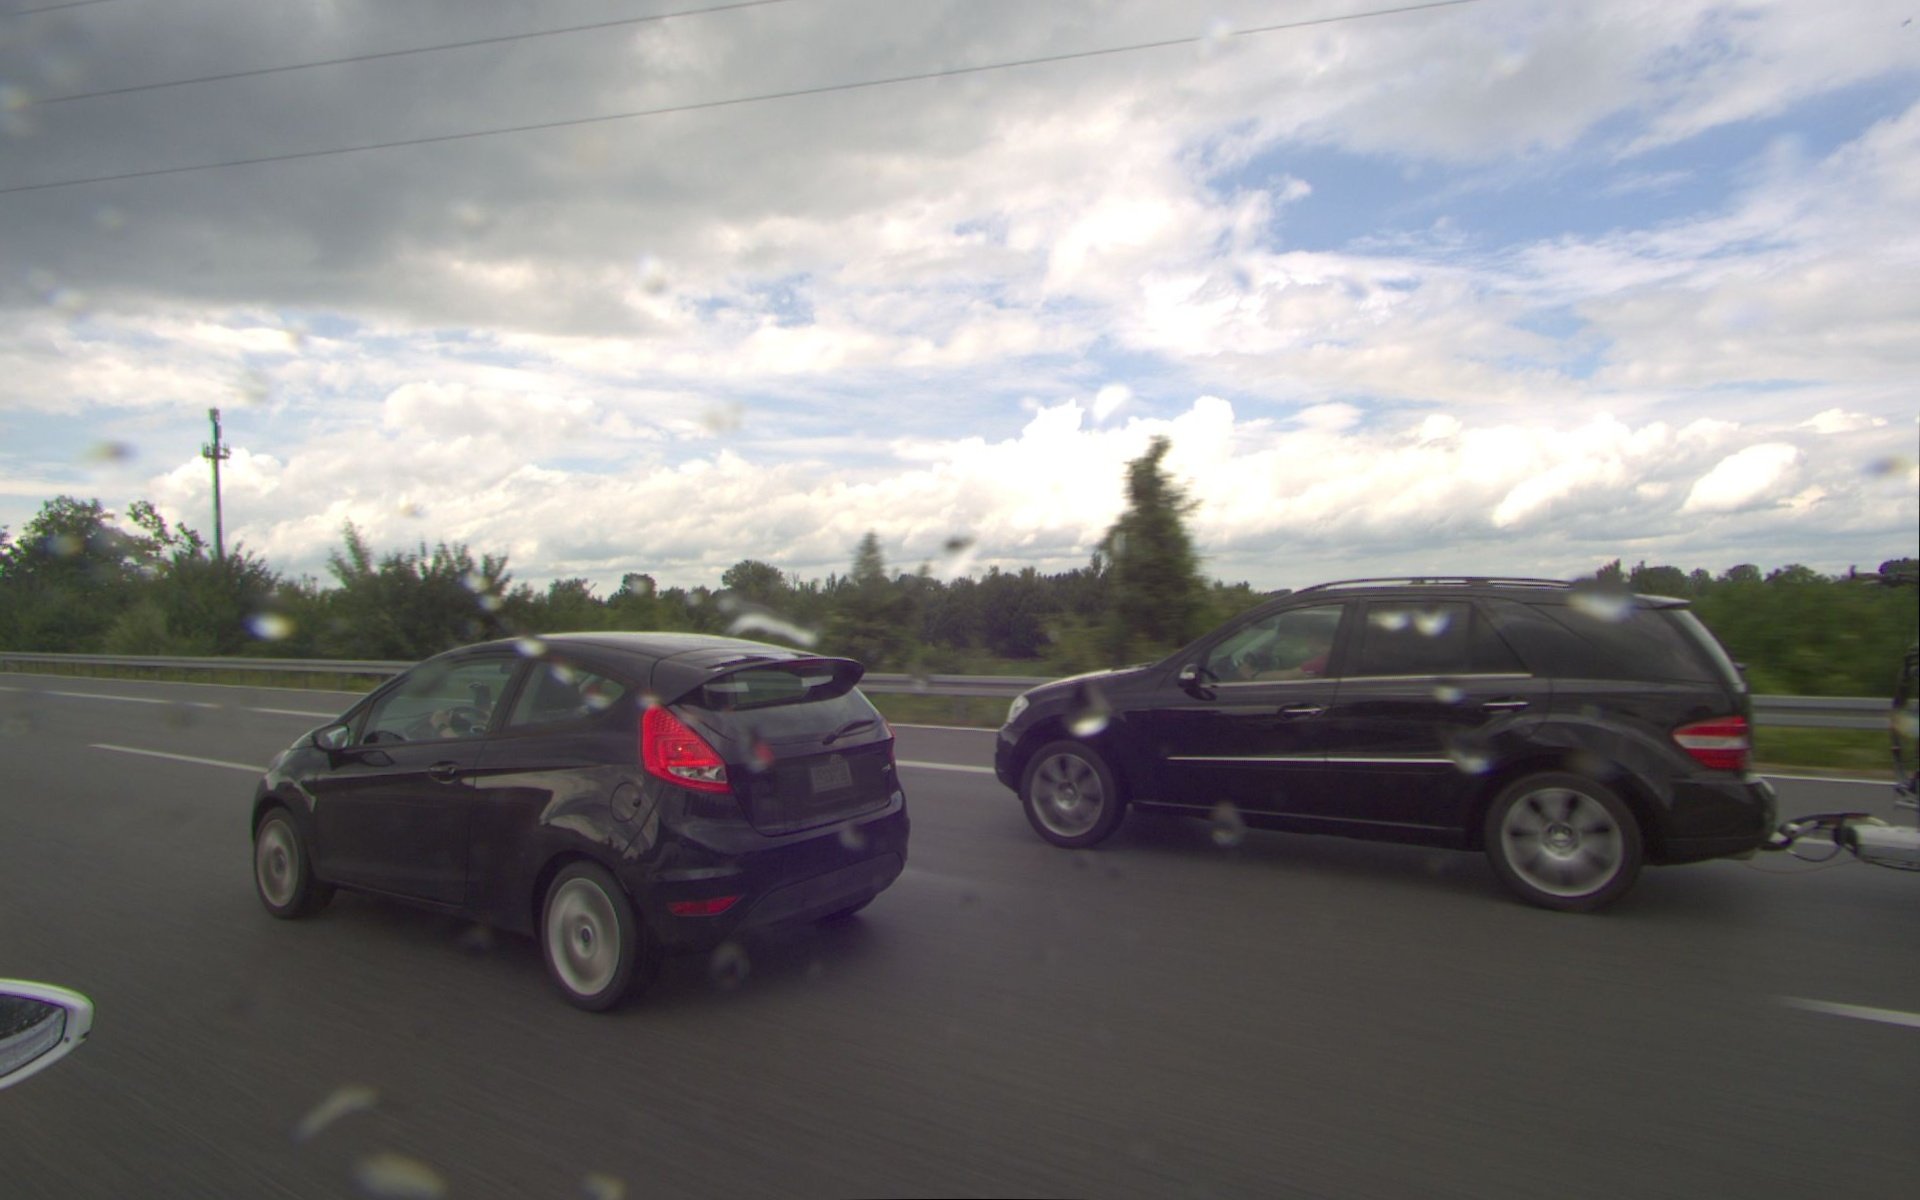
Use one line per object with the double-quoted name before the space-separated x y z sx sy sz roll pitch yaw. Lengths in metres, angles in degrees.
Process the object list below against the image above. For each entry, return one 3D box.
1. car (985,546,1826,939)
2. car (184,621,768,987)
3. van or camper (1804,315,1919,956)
"car" 2.554 0.722 6.578 4.437 1.799 1.917 -1 -2 31
"car" -2.696 0.858 5.450 3.118 1.460 1.444 -1 -2 32
"van or camper" 7.684 0.132 3.331 7.104 2.773 2.381 -1 -2 31
